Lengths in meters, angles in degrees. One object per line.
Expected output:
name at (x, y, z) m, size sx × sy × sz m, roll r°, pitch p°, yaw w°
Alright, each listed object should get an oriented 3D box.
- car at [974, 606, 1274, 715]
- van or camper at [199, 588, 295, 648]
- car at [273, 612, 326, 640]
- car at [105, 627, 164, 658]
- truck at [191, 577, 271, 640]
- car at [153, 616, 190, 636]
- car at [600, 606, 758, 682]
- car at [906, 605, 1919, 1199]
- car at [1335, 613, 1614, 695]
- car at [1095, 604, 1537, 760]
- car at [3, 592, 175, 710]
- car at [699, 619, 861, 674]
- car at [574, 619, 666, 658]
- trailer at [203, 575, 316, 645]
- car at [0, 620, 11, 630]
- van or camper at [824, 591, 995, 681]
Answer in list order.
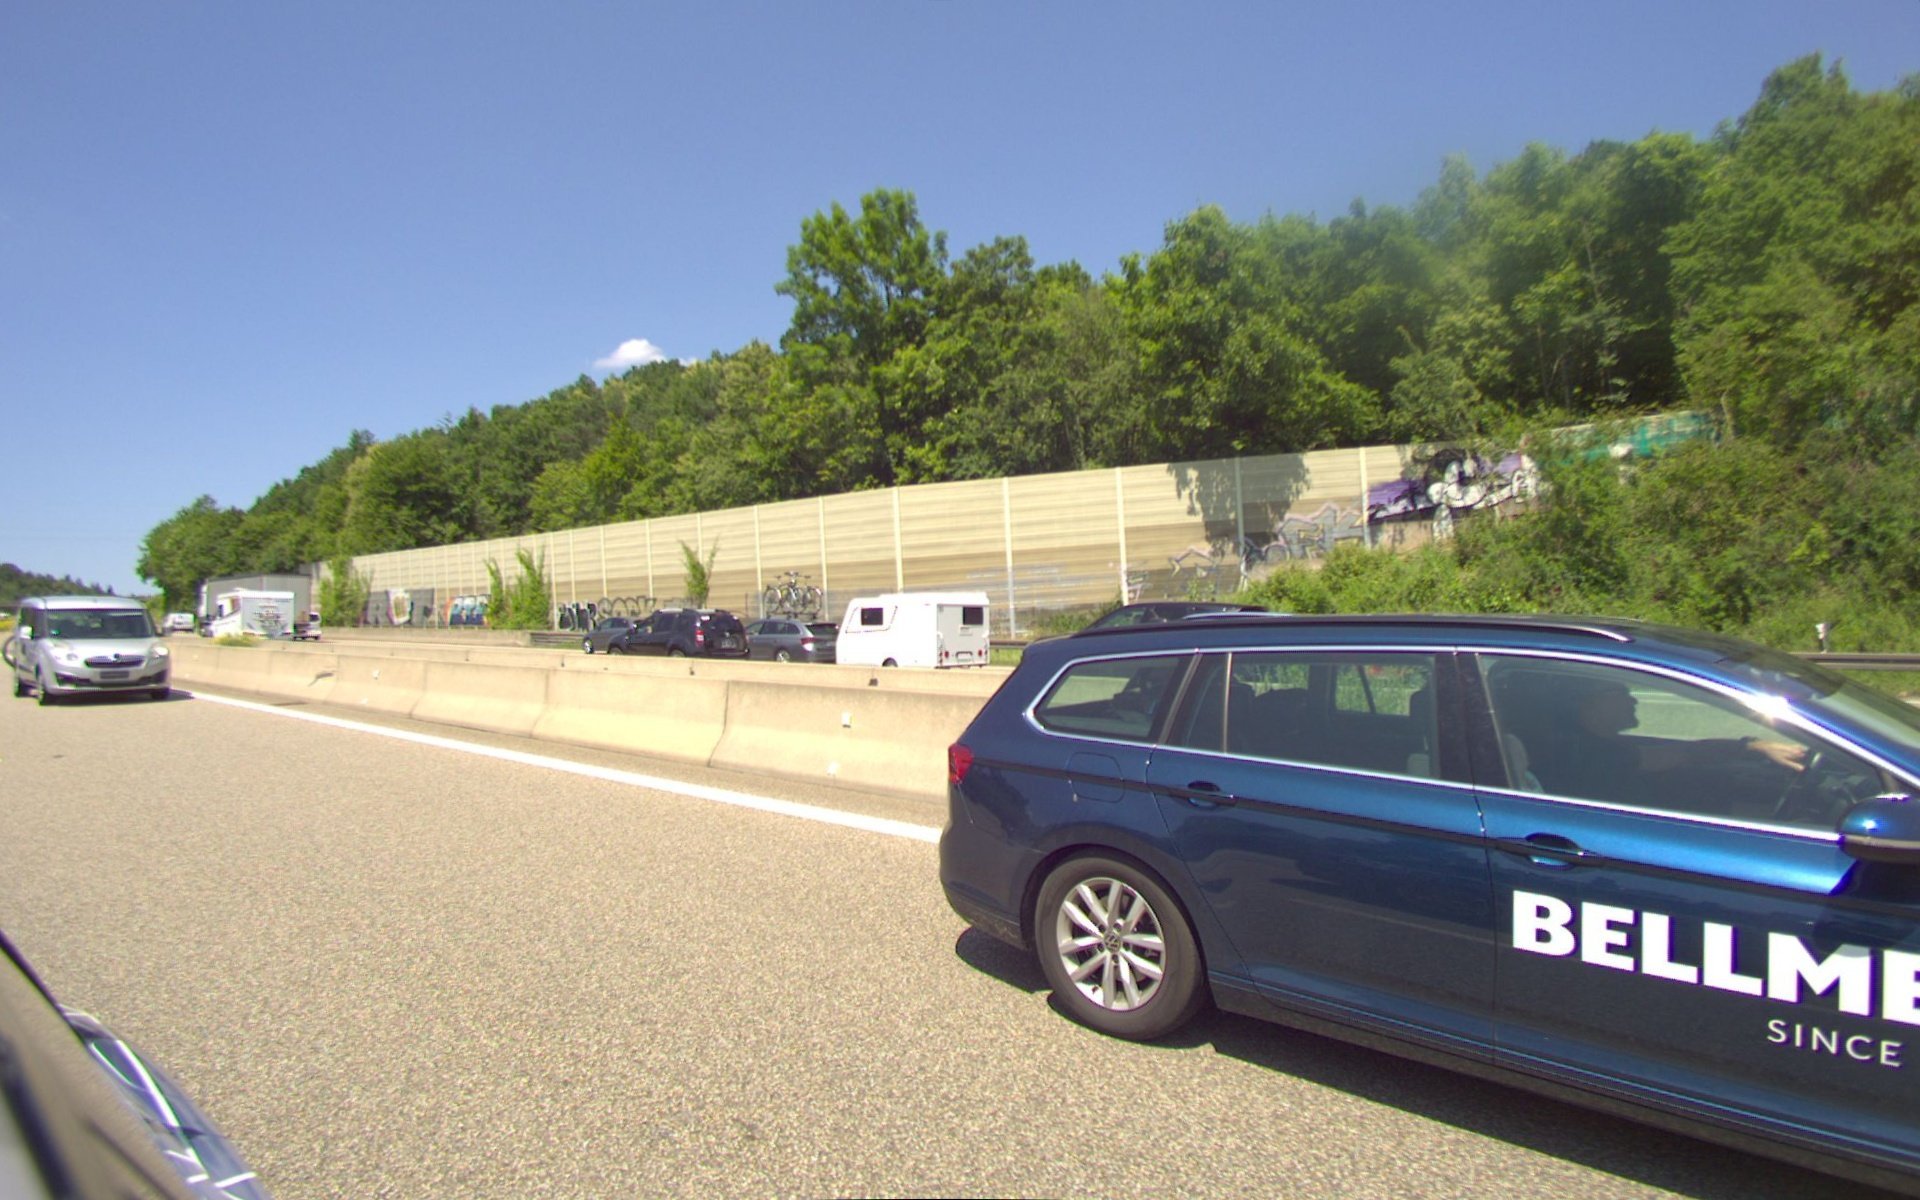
car at (2.732, 0.953, 17.670) m, size 4.925 × 1.652 × 1.905 m, roll -1°, pitch -1°, yaw 41°
van or camper at (-35.202, 0.877, 49.893) m, size 6.802 × 2.756 × 2.246 m, roll 0°, pitch -1°, yaw 41°
car at (-45.349, 1.769, 69.463) m, size 5.105 × 1.824 × 1.791 m, roll -1°, pitch -1°, yaw 42°
car at (-43.409, 2.186, 53.180) m, size 4.126 × 1.549 × 1.693 m, roll -1°, pitch -2°, yaw 41°
truck at (-48.397, 0.592, 67.103) m, size 7.314 × 3.938 × 2.782 m, roll 0°, pitch -1°, yaw 42°
car at (-78.166, 2.587, 100.323) m, size 5.301 × 1.881 × 1.901 m, roll 0°, pitch -1°, yaw 42°
car at (-6.881, 1.014, 24.527) m, size 4.193 × 1.696 × 1.675 m, roll -1°, pitch -1°, yaw 41°
car at (2.121, 0.745, 3.057) m, size 4.727 × 1.438 × 1.714 m, roll -1°, pitch -1°, yaw 41°
car at (10.205, 0.990, 20.295) m, size 4.691 × 1.446 × 1.927 m, roll 0°, pitch -1°, yaw 41°
car at (3.701, 0.767, 11.025) m, size 4.268 × 1.386 × 1.597 m, roll -1°, pitch -1°, yaw 41°
car at (-15.510, 0.842, 17.957) m, size 3.998 × 1.858 × 1.758 m, roll -1°, pitch -2°, yaw 41°
car at (-4.965, 1.209, 27.505) m, size 4.721 × 1.357 × 1.782 m, roll -1°, pitch -1°, yaw 41°
car at (-13.667, 1.499, 40.557) m, size 4.387 × 1.473 × 1.561 m, roll -1°, pitch -2°, yaw 42°
trailer at (-43.786, 0.632, 62.953) m, size 13.825 × 3.938 × 2.782 m, roll 0°, pitch -1°, yaw 43°
car at (-148.346, 3.834, 156.790) m, size 4.714 × 1.589 × 1.728 m, roll -1°, pitch -1°, yaw 43°
van or camper at (-1.248, 0.836, 24.374) m, size 3.701 × 1.992 × 2.055 m, roll -1°, pitch -2°, yaw 39°
